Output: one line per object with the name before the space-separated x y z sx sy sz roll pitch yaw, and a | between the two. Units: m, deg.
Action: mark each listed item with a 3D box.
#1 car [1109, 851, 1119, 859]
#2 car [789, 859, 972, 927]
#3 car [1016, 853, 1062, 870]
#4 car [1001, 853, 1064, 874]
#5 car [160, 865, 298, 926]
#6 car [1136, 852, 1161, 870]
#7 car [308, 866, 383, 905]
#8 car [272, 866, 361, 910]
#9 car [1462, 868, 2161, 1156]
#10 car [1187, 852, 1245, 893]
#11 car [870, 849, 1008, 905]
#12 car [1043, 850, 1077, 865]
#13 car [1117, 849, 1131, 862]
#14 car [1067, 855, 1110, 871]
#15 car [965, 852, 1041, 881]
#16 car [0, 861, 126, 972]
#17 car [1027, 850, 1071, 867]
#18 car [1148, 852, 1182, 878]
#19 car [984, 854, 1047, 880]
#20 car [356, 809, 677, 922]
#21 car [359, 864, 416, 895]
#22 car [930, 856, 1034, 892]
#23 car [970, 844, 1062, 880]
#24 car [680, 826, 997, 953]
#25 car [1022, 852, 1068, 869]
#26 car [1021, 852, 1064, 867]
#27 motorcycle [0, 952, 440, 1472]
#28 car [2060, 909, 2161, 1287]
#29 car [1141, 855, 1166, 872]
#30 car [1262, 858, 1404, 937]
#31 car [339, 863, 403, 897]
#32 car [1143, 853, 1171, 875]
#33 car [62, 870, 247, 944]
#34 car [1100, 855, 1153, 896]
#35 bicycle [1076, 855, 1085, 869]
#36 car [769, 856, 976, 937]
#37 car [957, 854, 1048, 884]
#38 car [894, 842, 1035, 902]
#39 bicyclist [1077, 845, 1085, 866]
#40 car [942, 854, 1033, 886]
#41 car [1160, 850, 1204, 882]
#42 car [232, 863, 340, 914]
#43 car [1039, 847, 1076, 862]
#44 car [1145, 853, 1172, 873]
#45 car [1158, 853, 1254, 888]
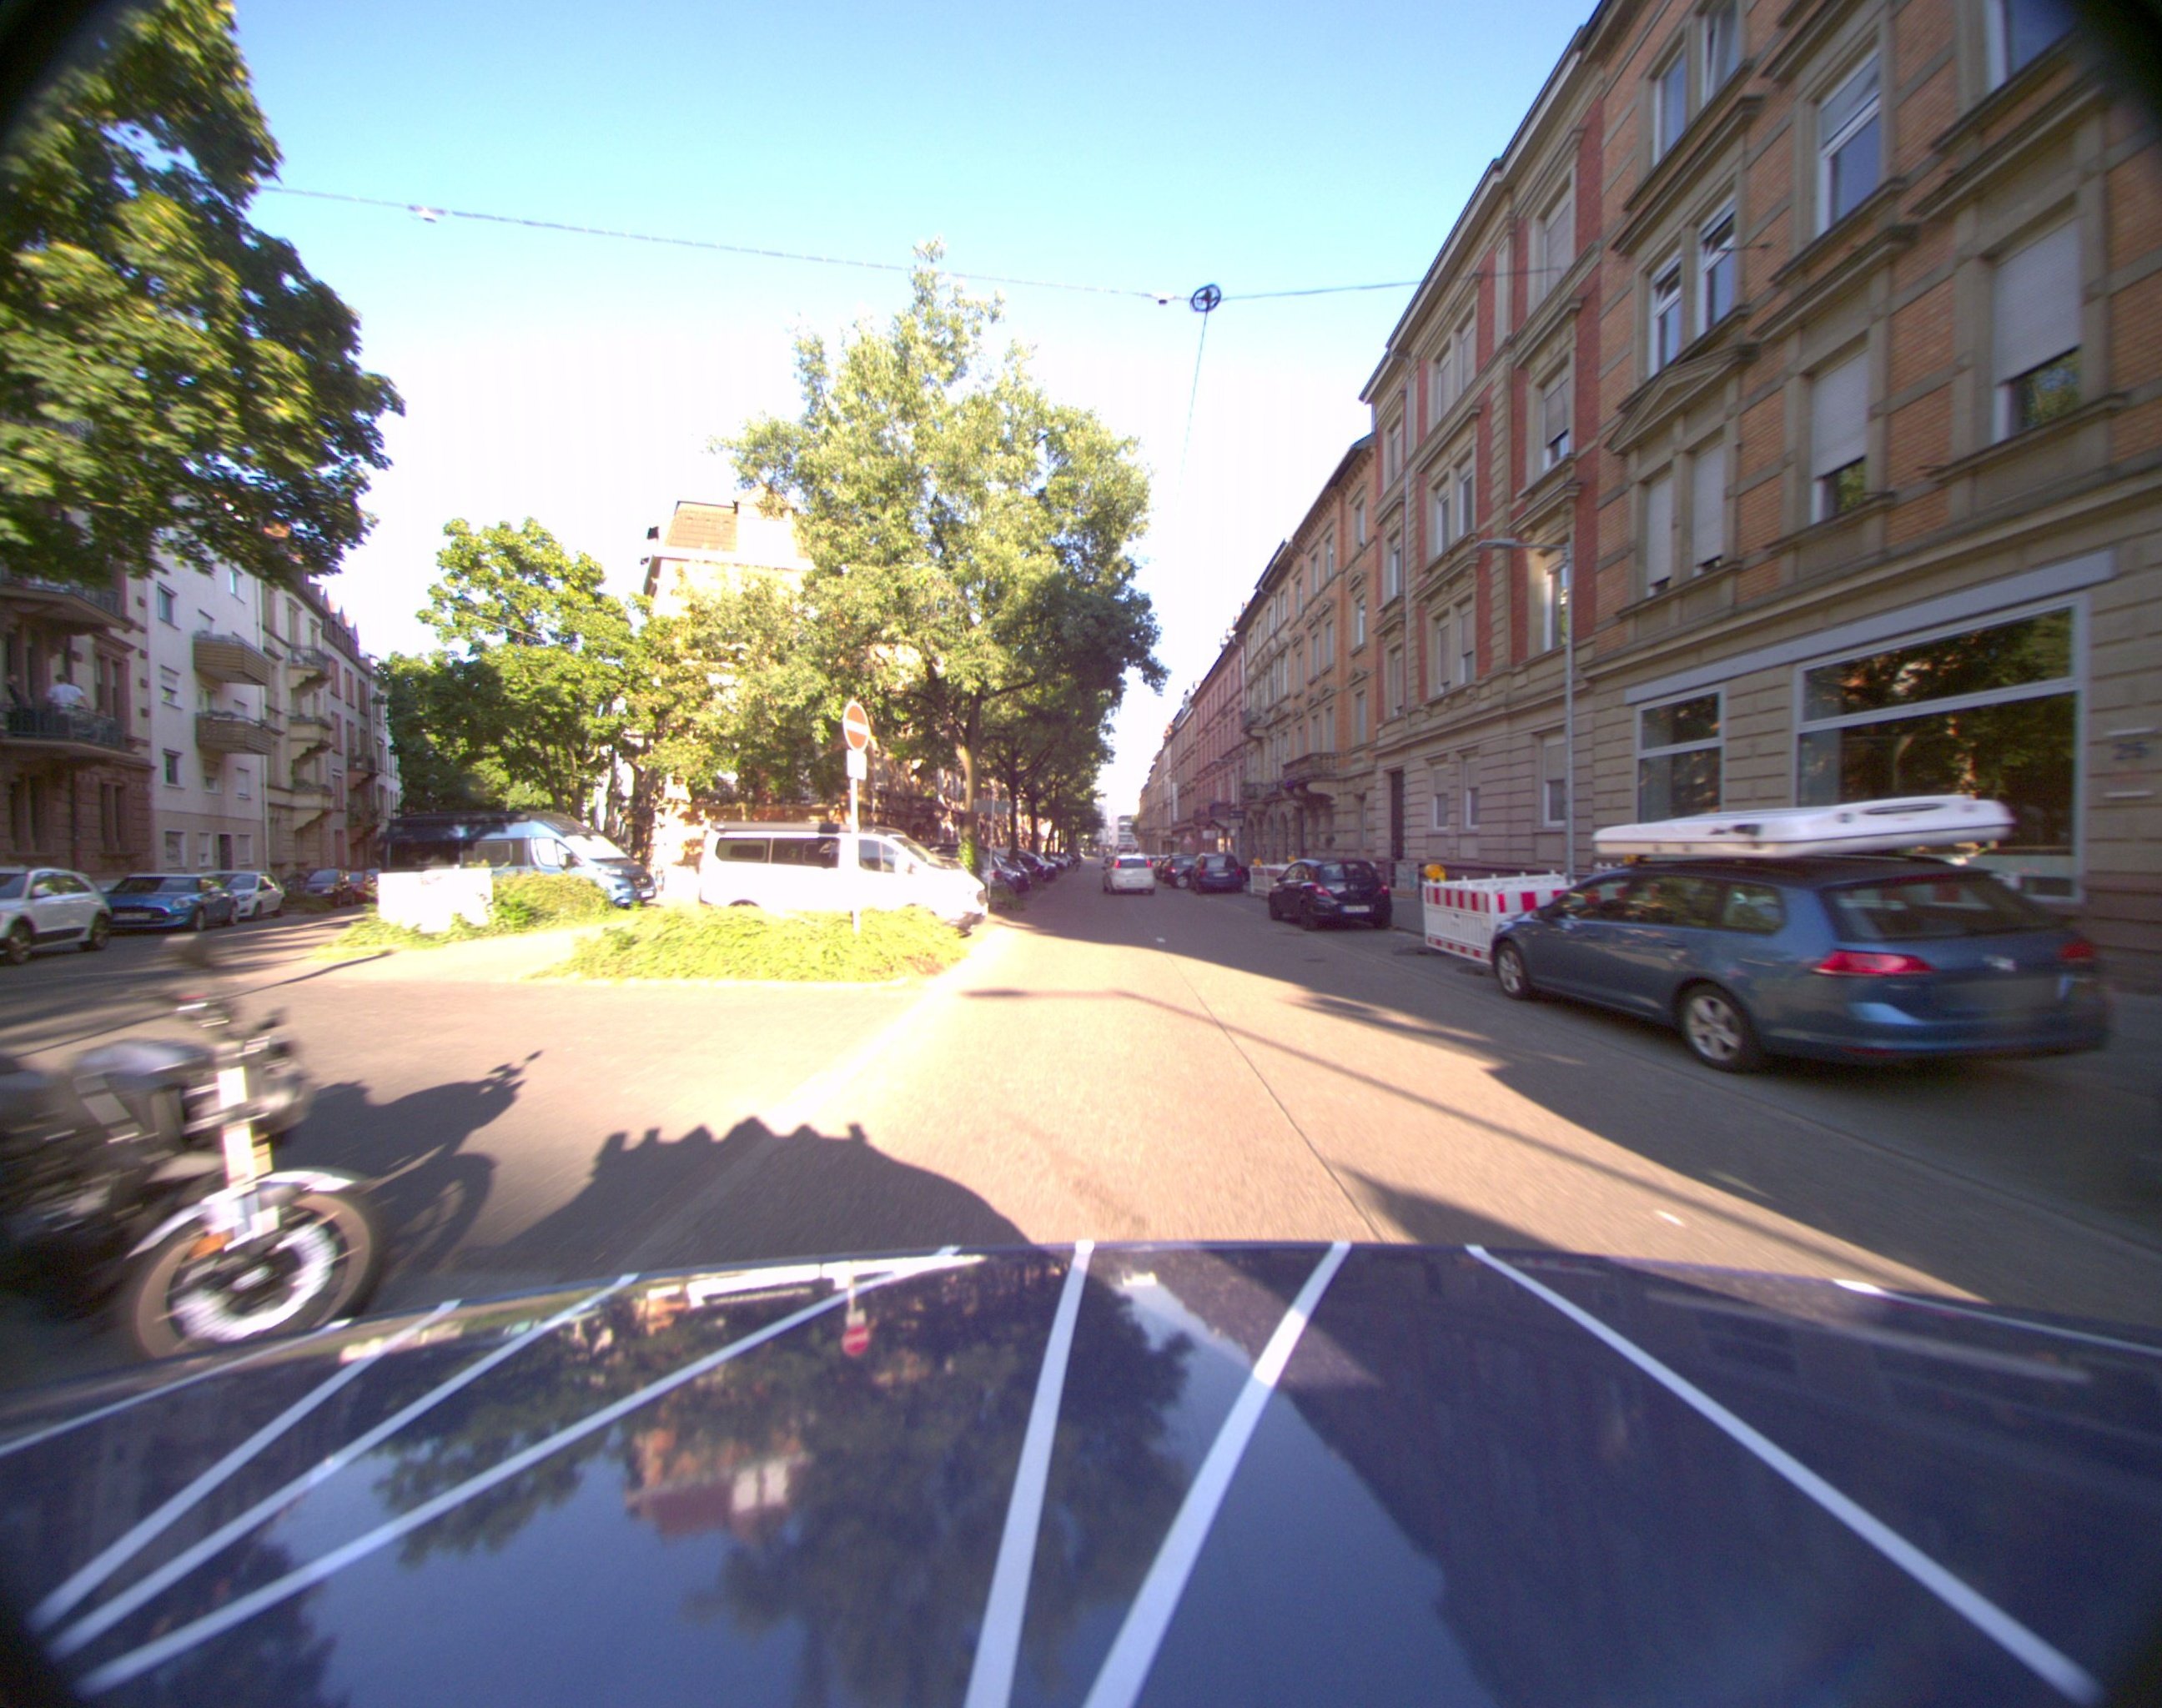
car | 6.305 0.184 144.892 1.868 1.620 3.825 -1 0 3
car | -4.676 0.889 18.157 3.850 1.507 1.848 0 1 1
car | -3.651 0.614 66.311 3.998 1.454 1.782 0 0 -2
car | -3.655 0.687 57.450 4.563 1.521 2.000 0 0 2
car | -25.198 1.140 22.643 1.871 1.573 4.233 -1 1 -36
car | 5.948 0.616 66.913 1.825 1.468 4.423 -2 0 1
car | -33.206 1.373 34.415 1.871 1.573 4.233 -1 1 -36
car | -30.373 1.289 30.324 1.871 1.573 4.233 -1 1 -36
car | 5.106 0.886 6.234 1.769 1.429 4.300 -1 0 -1
car | 5.387 0.699 30.803 1.745 1.558 3.895 0 0 1
car | -4.361 0.683 23.845 3.997 1.682 1.800 0 1 -1
car | -2.576 0.420 95.824 4.134 1.778 1.945 0 0 3
car | 6.990 0.221 124.283 1.947 2.045 4.745 -1 0 1
car | 0.821 0.935 81.676 4.486 1.647 1.891 0 2 3
car | -4.257 0.680 41.575 3.999 1.466 1.780 1 0 -6
car | -17.692 0.939 12.183 1.784 1.601 4.206 -1 1 -35
car | -3.316 0.468 78.749 4.487 1.647 1.891 -1 2 0
car | 5.235 0.667 47.505 1.651 1.464 4.000 -3 0 1
car | -4.168 0.837 48.804 3.894 1.639 1.724 0 1 -1
car | -13.549 0.243 18.655 5.912 2.523 2.379 -1 1 -5
car | -38.911 1.366 42.724 1.871 1.573 4.233 -1 1 -36
car | -4.120 0.831 31.939 3.995 1.439 1.891 0 1 5
car | -3.697 0.431 44.089 5.104 1.930 2.157 0 4 1
car | -4.145 0.590 13.674 4.986 2.084 2.105 0 1 1
car | -3.259 0.564 69.015 3.997 1.380 1.678 2 0 0
car | -3.838 0.589 76.075 4.110 1.461 1.801 -1 0 2
motorcycle | -3.294 1.020 2.345 2.020 1.319 0.621 -1 1 -3
car | 4.978 0.940 1.205 1.729 1.429 3.996 -2 0 1
car | 5.876 0.720 62.039 1.709 1.315 4.101 0 0 1
car | 5.256 0.836 16.410 1.708 1.446 4.019 0 0 0
car | -36.178 1.264 38.809 1.871 1.573 4.233 -1 1 -36
car | 5.215 0.673 52.332 1.586 1.464 4.000 0 0 1
car | -22.469 1.195 18.650 1.871 1.466 4.233 -1 1 -36
car | 1.738 0.792 30.153 1.754 1.500 3.999 0 0 -2
bicycle | -0.039 0.688 69.916 0.712 1.252 1.887 0 0 1
car | -4.263 0.852 15.957 3.850 1.586 1.741 0 1 1
car | -3.940 0.738 38.640 4.380 1.447 1.934 0 1 1
car | -3.962 0.600 26.465 4.627 2.002 2.000 0 1 -1
bicyclist | -0.020 0.115 69.957 0.712 1.865 1.120 0 1 1
car | -4.422 0.743 36.328 4.091 1.489 1.843 0 1 1
car | 5.565 0.628 42.238 1.652 1.565 4.048 -3 0 -3
car | -27.553 1.127 26.476 1.871 1.573 4.233 -1 1 -36
car | -3.144 0.066 101.654 4.933 1.890 2.175 2 0 -2
car | 5.838 0.677 57.359 1.709 1.431 3.959 0 0 1
car | 5.641 0.721 34.571 3.999 1.521 1.825 0 1 -5
